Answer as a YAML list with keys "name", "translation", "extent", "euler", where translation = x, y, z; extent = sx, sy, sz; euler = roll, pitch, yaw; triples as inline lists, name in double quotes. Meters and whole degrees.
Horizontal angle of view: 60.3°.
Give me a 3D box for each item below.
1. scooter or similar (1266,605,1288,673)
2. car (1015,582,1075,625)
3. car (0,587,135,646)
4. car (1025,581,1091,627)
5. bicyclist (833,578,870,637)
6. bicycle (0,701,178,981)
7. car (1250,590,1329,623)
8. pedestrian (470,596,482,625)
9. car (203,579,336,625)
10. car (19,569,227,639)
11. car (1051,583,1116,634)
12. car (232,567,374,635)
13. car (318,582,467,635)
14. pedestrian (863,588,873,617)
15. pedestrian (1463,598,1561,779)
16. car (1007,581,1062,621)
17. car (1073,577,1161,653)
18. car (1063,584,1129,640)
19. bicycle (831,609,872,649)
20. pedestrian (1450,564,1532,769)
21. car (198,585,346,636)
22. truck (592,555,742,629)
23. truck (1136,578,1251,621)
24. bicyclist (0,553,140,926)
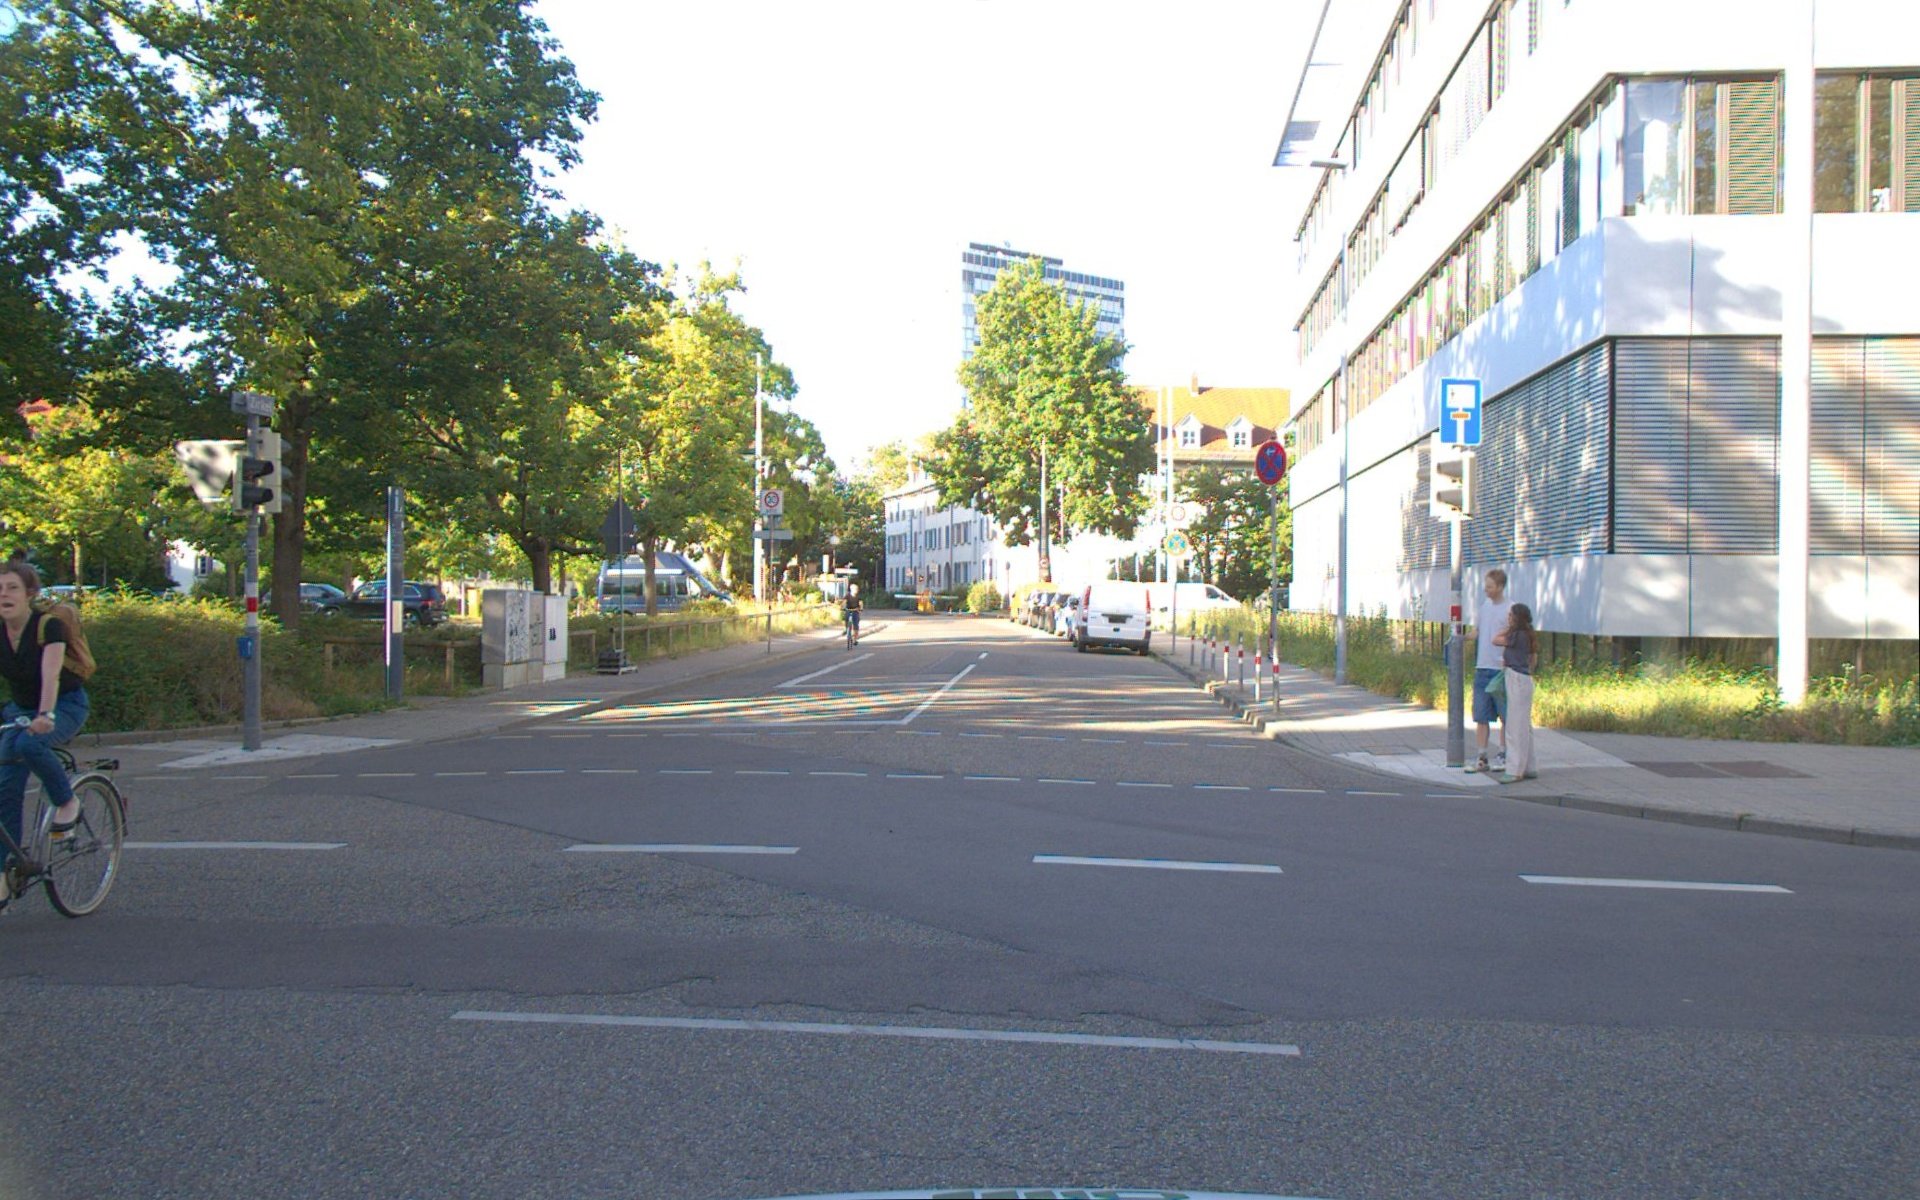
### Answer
- name: "scooter or similar"
  translation: [6.987, 0.848, 36.440]
  extent: [0.323, 1.448, 1.336]
  euler: [2, 0, 6]
- name: "car"
  translation: [3.525, 0.127, 69.668]
  extent: [1.852, 1.684, 4.410]
  euler: [1, 1, -6]
- name: "car"
  translation: [-28.443, 0.508, 51.530]
  extent: [4.459, 1.760, 2.075]
  euler: [-1, 0, 3]
- name: "car"
  translation: [3.791, 0.134, 64.806]
  extent: [1.852, 1.684, 4.410]
  euler: [1, 1, -6]
- name: "bicyclist"
  translation: [-2.928, 0.200, 44.778]
  extent: [0.848, 1.542, 1.019]
  euler: [-2, 0, 1]
- name: "bicycle"
  translation: [-4.158, 1.006, 7.357]
  extent: [0.603, 0.987, 1.839]
  euler: [0, 0, -4]
- name: "car"
  translation: [16.162, 0.302, 81.237]
  extent: [3.487, 1.573, 1.556]
  euler: [1, 0, -7]
- name: "pedestrian"
  translation: [-22.558, 0.468, 77.088]
  extent: [0.548, 1.347, 0.575]
  euler: [0, 0, -14]
- name: "car"
  translation: [-27.697, 0.090, 66.450]
  extent: [4.459, 1.760, 2.075]
  euler: [-1, 0, 3]
- name: "car"
  translation: [-22.140, 0.104, 43.854]
  extent: [4.459, 1.760, 2.075]
  euler: [-1, 0, 3]
- name: "car"
  translation: [4.226, 0.261, 57.283]
  extent: [1.850, 1.582, 4.415]
  euler: [1, 1, -1]
- name: "car"
  translation: [-24.715, 0.045, 62.320]
  extent: [4.459, 2.433, 2.075]
  euler: [-1, 0, 3]
- name: "car"
  translation: [-19.865, 0.301, 58.006]
  extent: [4.459, 1.760, 2.075]
  euler: [-1, 0, 3]
- name: "pedestrian"
  translation: [-5.375, 0.155, 96.648]
  extent: [0.534, 1.706, 0.475]
  euler: [0, 0, -5]
- name: "pedestrian"
  translation: [4.991, 0.780, 14.986]
  extent: [0.548, 1.567, 0.676]
  euler: [-3, 0, -6]
- name: "car"
  translation: [3.346, 0.019, 75.084]
  extent: [1.852, 1.684, 4.410]
  euler: [1, 1, -6]
- name: "car"
  translation: [4.067, 0.342, 43.498]
  extent: [2.042, 1.827, 4.417]
  euler: [1, 1, 2]
- name: "car"
  translation: [4.214, 0.332, 51.785]
  extent: [1.849, 1.582, 4.417]
  euler: [1, 1, 2]
- name: "bicycle"
  translation: [-2.917, 0.776, 44.759]
  extent: [0.848, 1.027, 2.414]
  euler: [-2, 0, 1]
- name: "pedestrian"
  translation: [5.014, 0.615, 15.602]
  extent: [0.548, 1.883, 0.676]
  euler: [-3, 0, 28]
- name: "car"
  translation: [-24.890, 0.373, 59.914]
  extent: [4.459, 1.760, 2.075]
  euler: [-1, 0, 3]
- name: "truck"
  translation: [-10.081, -0.287, 57.155]
  extent: [4.728, 2.441, 2.088]
  euler: [1, 1, 2]
- name: "truck"
  translation: [11.430, -0.019, 81.056]
  extent: [5.236, 2.049, 1.997]
  euler: [1, 0, -7]
- name: "bicyclist"
  translation: [-4.154, 0.582, 7.366]
  extent: [0.603, 1.559, 0.902]
  euler: [0, 0, -5]
